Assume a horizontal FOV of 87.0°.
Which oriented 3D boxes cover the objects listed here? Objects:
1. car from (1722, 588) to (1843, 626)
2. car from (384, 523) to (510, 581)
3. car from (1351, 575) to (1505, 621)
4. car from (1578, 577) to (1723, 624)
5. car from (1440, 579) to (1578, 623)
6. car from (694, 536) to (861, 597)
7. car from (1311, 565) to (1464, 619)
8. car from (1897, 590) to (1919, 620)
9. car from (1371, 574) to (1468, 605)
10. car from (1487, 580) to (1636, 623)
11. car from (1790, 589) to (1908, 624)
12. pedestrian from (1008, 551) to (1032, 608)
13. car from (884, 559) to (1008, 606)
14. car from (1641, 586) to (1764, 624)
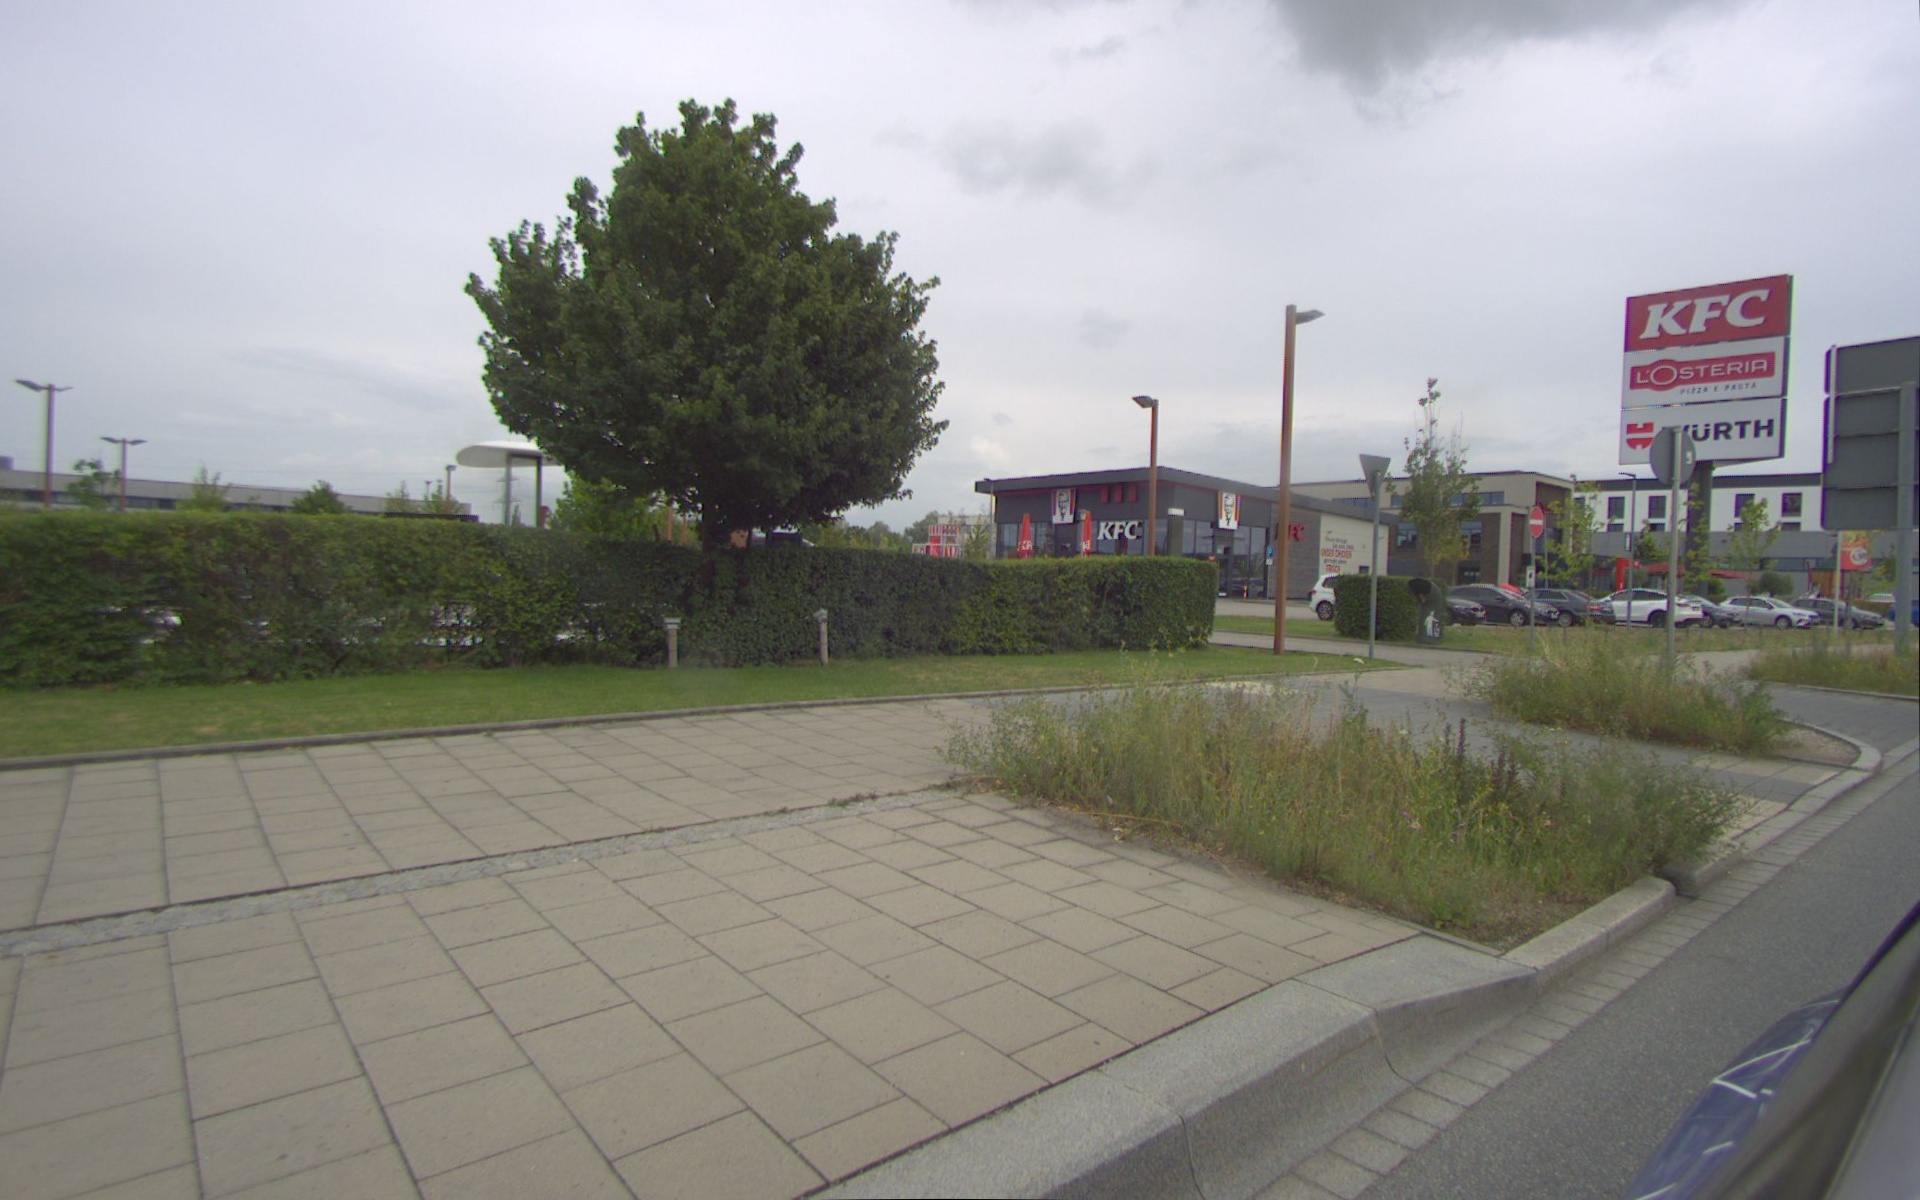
[{"bbox_3d":[37.945,0.281,46.786,1.862,1.499,3.884,1,3,-22],"label":"car"},{"bbox_3d":[-24.614,-2.249,48.894,2.245,2.560,6.031,2,1,10],"label":"car"},{"bbox_3d":[16.342,-0.100,35.544,2.034,1.454,4.483,1,2,-35],"label":"car"},{"bbox_3d":[29.103,-0.011,42.788,2.046,1.665,4.585,1,3,-28],"label":"car"},{"bbox_3d":[20.534,-0.004,37.996,1.905,1.456,4.099,1,2,-34],"label":"car"},{"bbox_3d":[-8.319,-1.532,46.493,7.194,2.533,2.280,2,1,3],"label":"car"},{"bbox_3d":[14.320,-0.306,34.121,1.902,1.660,4.360,1,2,-38],"label":"car"},{"bbox_3d":[51.295,0.320,51.911,1.924,1.539,4.286,1,1,-18],"label":"car"},{"bbox_3d":[25.919,-0.601,57.201,2.042,1.537,4.576,0,3,-37],"label":"car"},{"bbox_3d":[23.195,0.020,39.192,1.992,1.487,4.536,1,2,-32],"label":"car"},{"bbox_3d":[42.396,0.305,48.337,1.850,1.512,3.779,1,1,-21],"label":"car"},{"bbox_3d":[1.949,-0.661,32.979,0.467,1.827,0.793,2,1,28],"label":"pedestrian"},{"bbox_3d":[-0.450,-0.629,35.312,4.083,1.447,2.003,2,1,7],"label":"car"},{"bbox_3d":[33.287,0.178,45.497,1.900,1.503,4.009,0,2,-24],"label":"car"}]
